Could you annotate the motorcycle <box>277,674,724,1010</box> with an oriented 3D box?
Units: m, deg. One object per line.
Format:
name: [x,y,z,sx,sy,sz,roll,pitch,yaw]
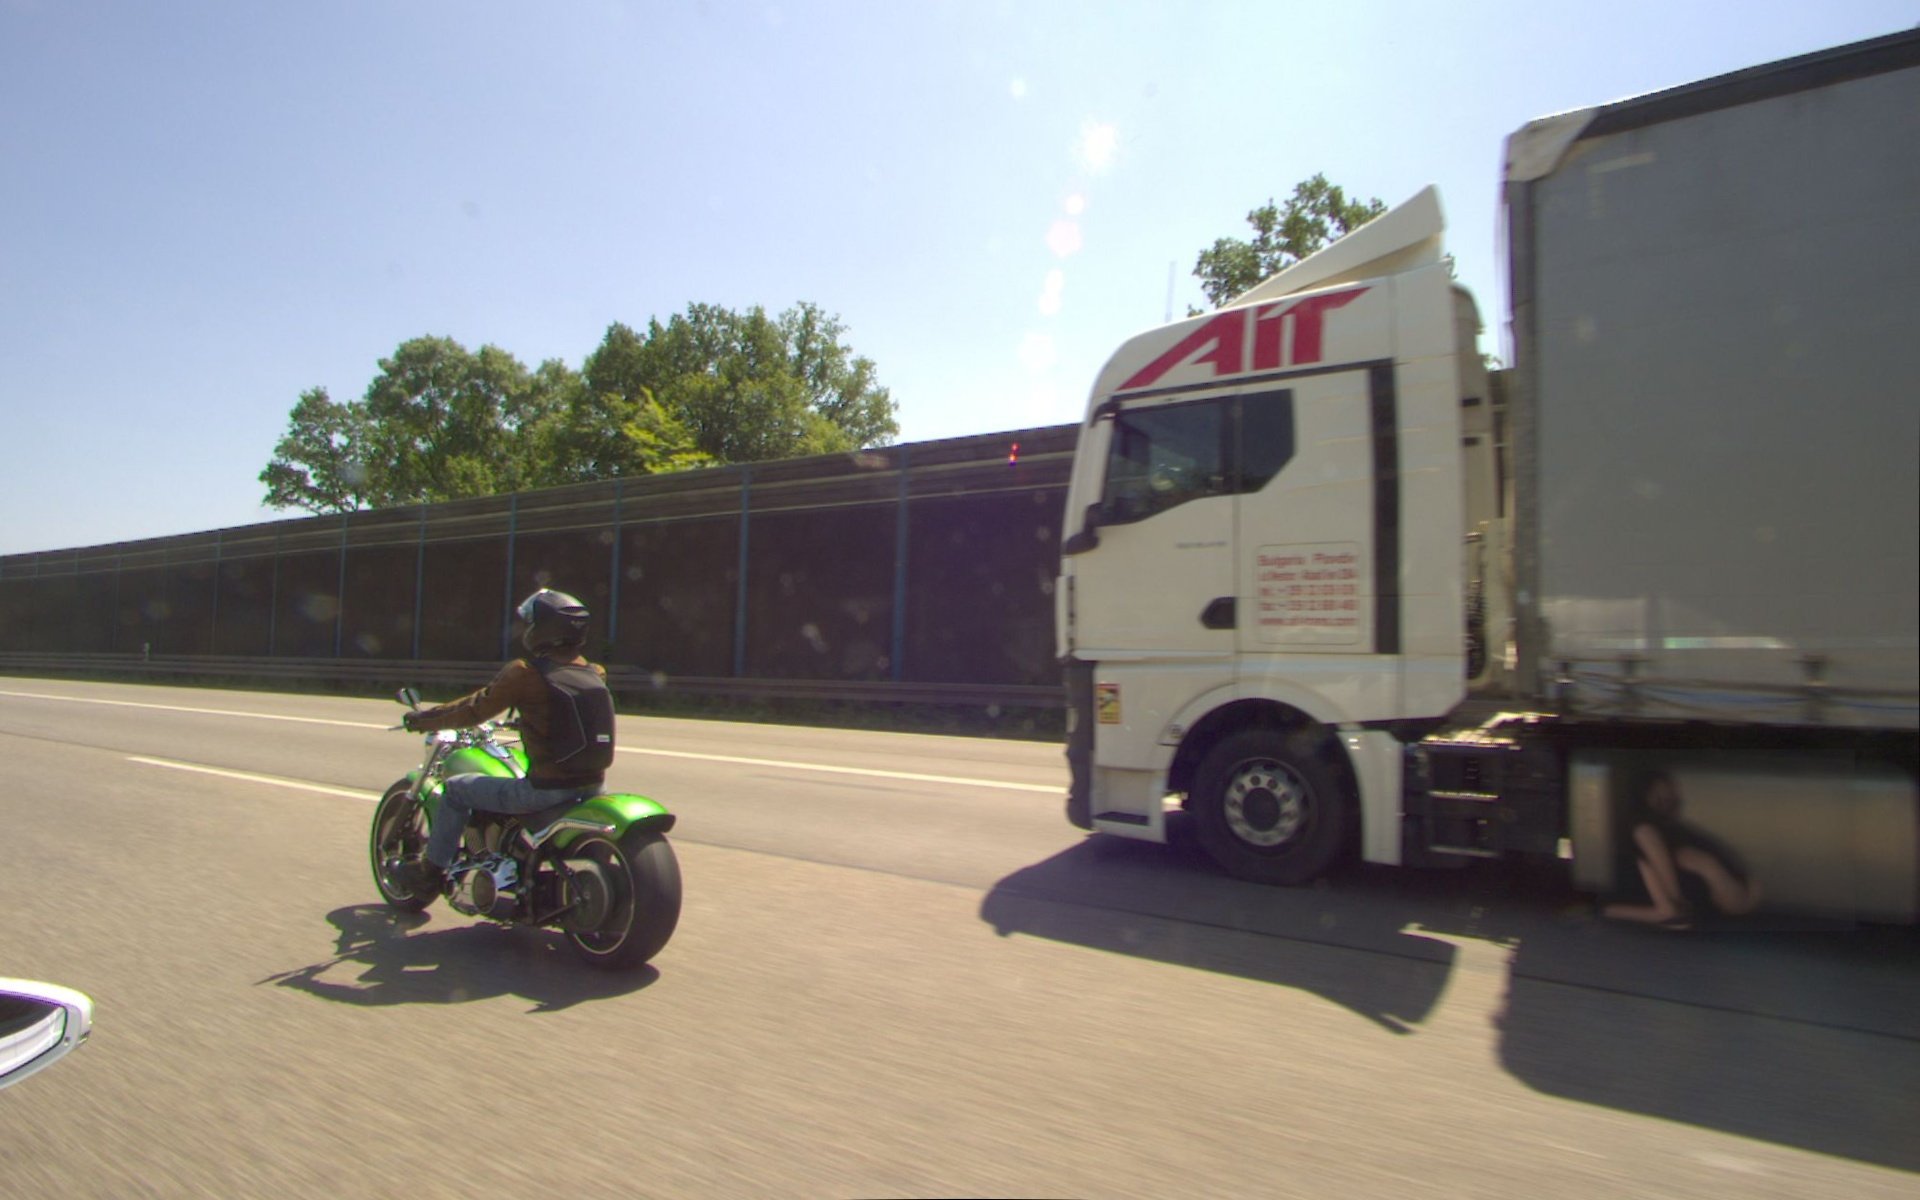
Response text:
motorcycle: [-2.255,0.996,4.801,2.244,1.197,0.858,-1,-2,33]

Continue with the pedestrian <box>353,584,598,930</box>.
pedestrian: [-2.332,0.698,4.875,0.629,1.497,0.850,0,-2,32]

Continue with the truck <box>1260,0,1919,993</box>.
truck: [4.675,-0.421,5.209,5.474,4.142,2.594,-1,-2,33]
